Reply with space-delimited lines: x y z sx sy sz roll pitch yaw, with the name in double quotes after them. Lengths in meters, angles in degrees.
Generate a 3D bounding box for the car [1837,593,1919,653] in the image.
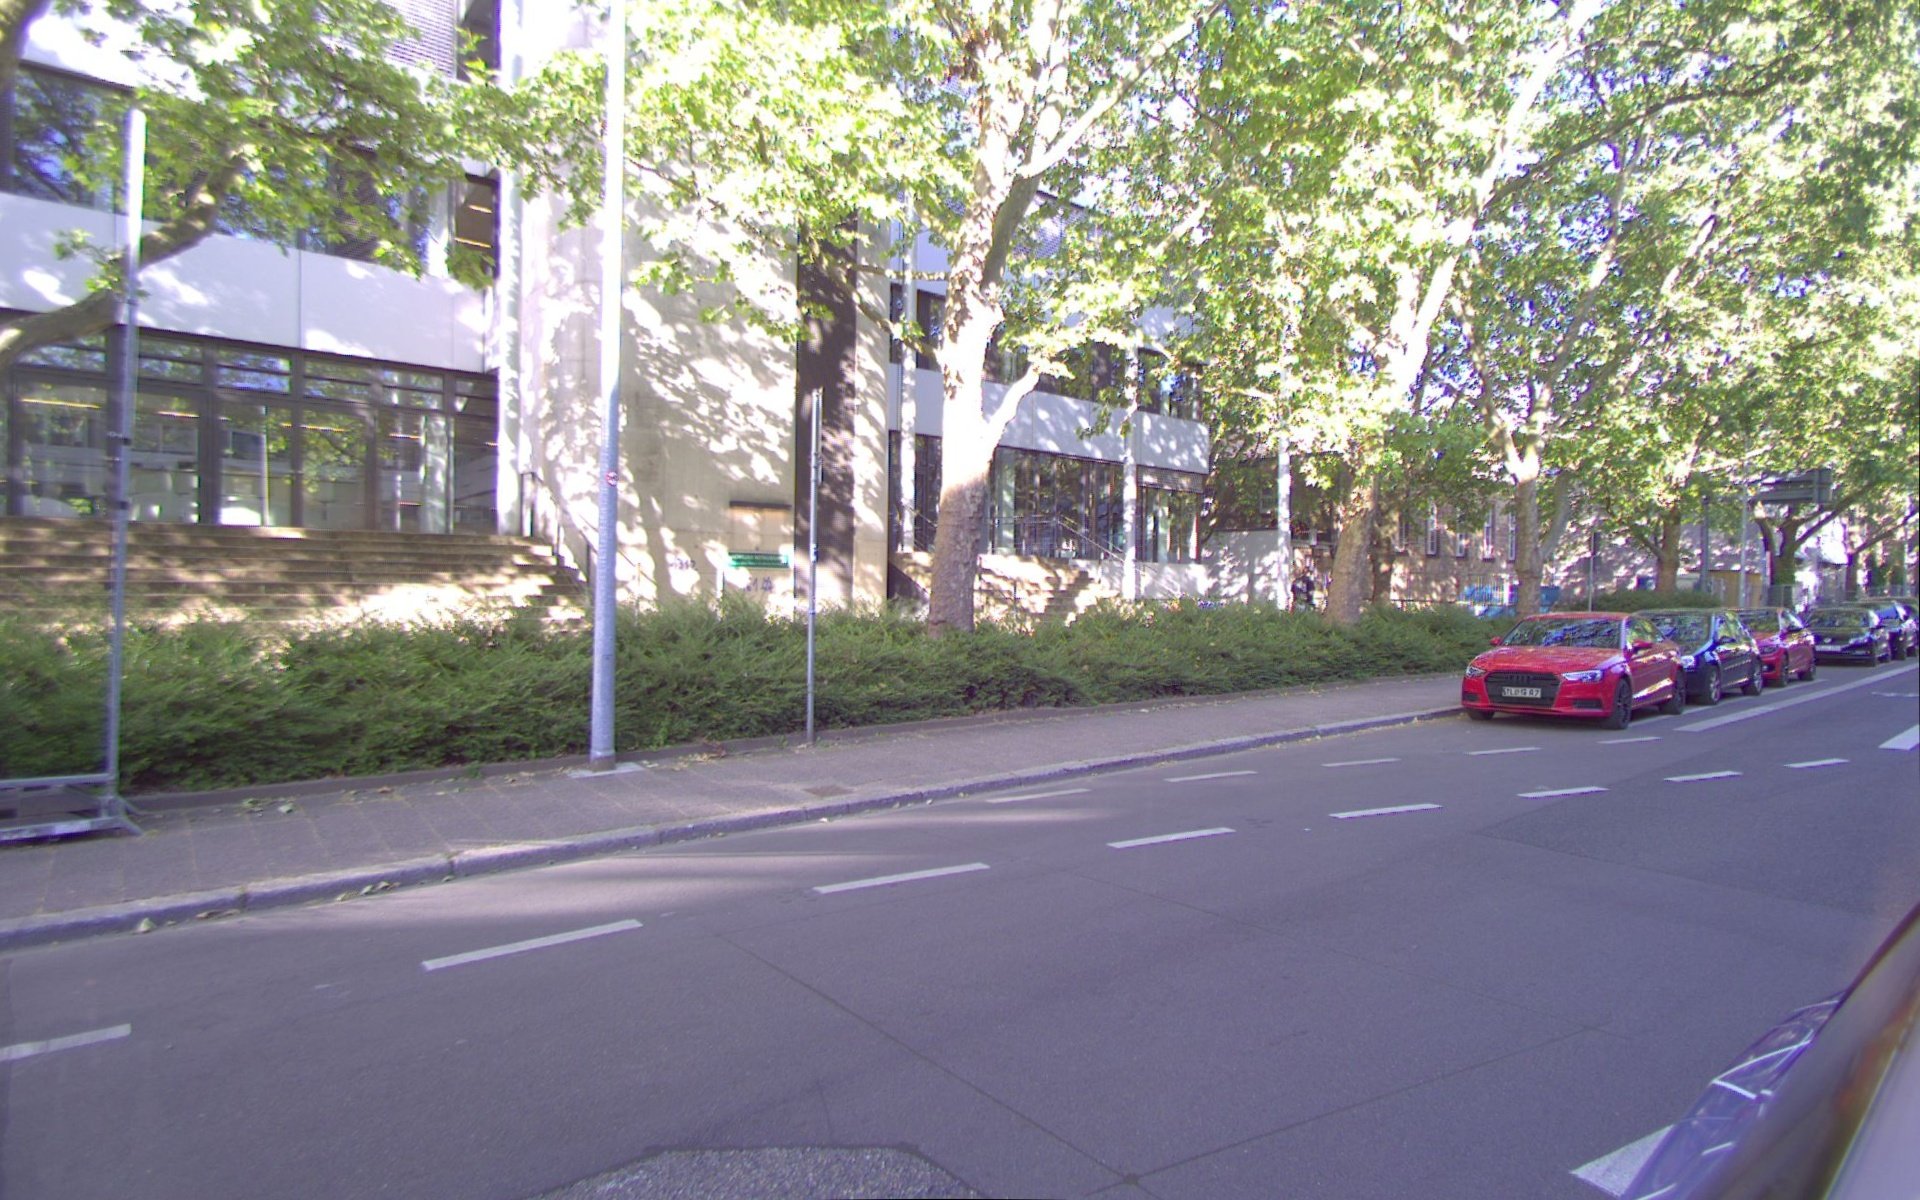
26.619 0.605 29.048 4.158 1.598 1.632 -1 0 -41 "car"

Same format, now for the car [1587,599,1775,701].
11.841 0.730 16.548 3.632 1.436 1.668 -1 0 -40 "car"

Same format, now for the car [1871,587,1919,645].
31.157 0.474 33.017 4.497 1.814 1.632 -1 0 -41 "car"

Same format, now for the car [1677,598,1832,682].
15.729 0.709 19.975 3.854 1.467 1.691 -1 0 -40 "car"

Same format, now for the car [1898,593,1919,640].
35.520 0.574 36.788 4.497 1.633 1.632 -1 0 -41 "car"

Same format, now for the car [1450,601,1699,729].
8.287 0.737 13.518 3.931 1.409 1.792 -1 0 -42 "car"

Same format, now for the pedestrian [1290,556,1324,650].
7.659 0.056 22.326 0.549 2.039 0.555 0 0 38 "pedestrian"

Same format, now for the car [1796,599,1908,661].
22.933 0.713 25.991 3.855 1.441 1.691 -1 0 -41 "car"
